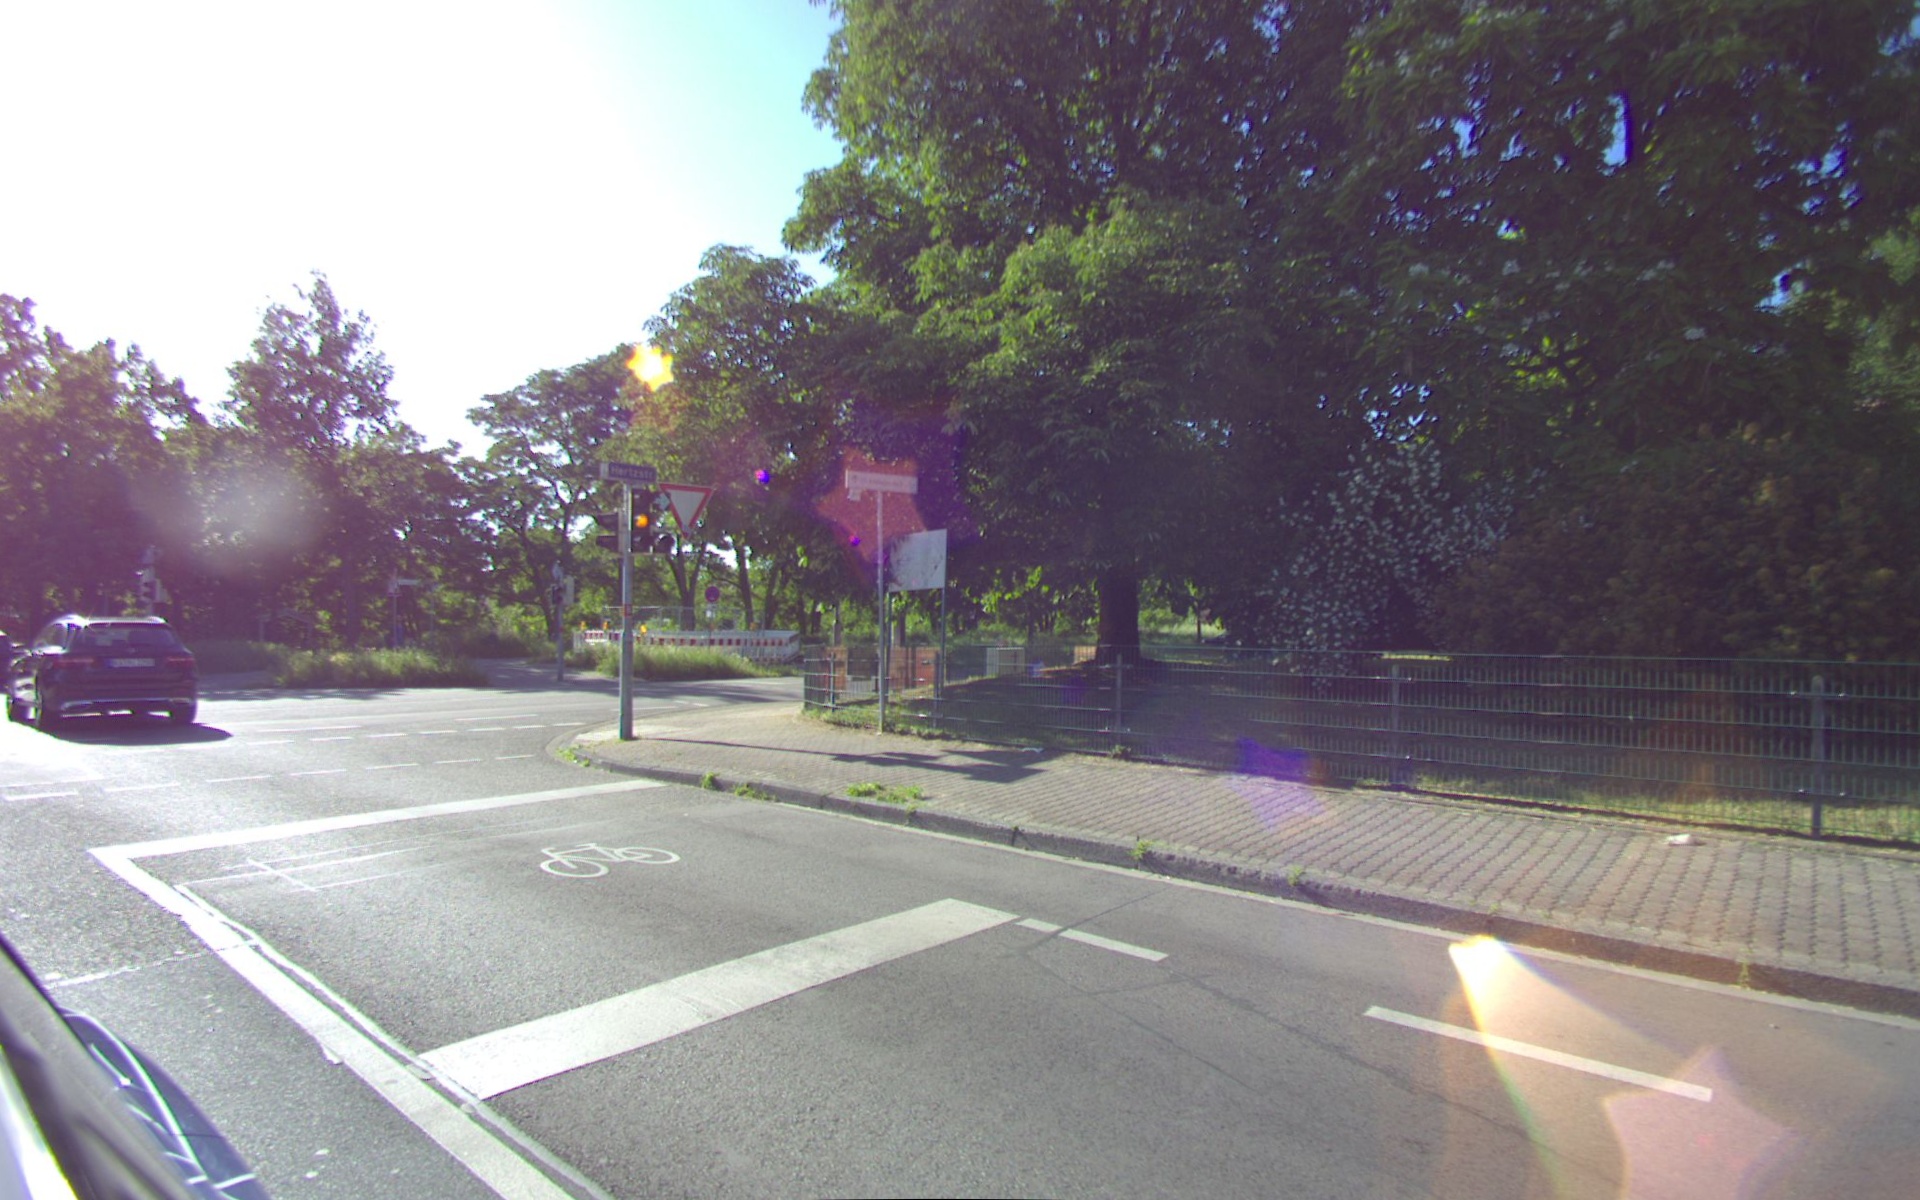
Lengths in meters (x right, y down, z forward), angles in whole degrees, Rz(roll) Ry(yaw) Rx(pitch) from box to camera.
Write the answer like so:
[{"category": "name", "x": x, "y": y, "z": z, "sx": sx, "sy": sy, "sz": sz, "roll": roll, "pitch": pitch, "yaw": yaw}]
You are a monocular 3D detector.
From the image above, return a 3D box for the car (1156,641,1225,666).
[{"category": "car", "x": 14.588, "y": 3.348, "z": 64.117, "sx": 3.997, "sy": 1.432, "sz": 1.620, "roll": -2, "pitch": 0, "yaw": 40}]

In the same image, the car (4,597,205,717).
[{"category": "car", "x": -13.496, "y": 0.829, "z": 15.878, "sx": 4.391, "sy": 1.630, "sz": 1.795, "roll": -1, "pitch": -3, "yaw": 42}]

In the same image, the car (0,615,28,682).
[{"category": "car", "x": -24.513, "y": 1.159, "z": 24.972, "sx": 3.848, "sy": 1.466, "sz": 1.787, "roll": 1, "pitch": -1, "yaw": 41}]

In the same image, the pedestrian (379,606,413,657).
[{"category": "pedestrian", "x": -18.694, "y": 1.046, "z": 33.569, "sx": 0.647, "sy": 1.646, "sz": 0.790, "roll": -2, "pitch": 0, "yaw": 41}]
